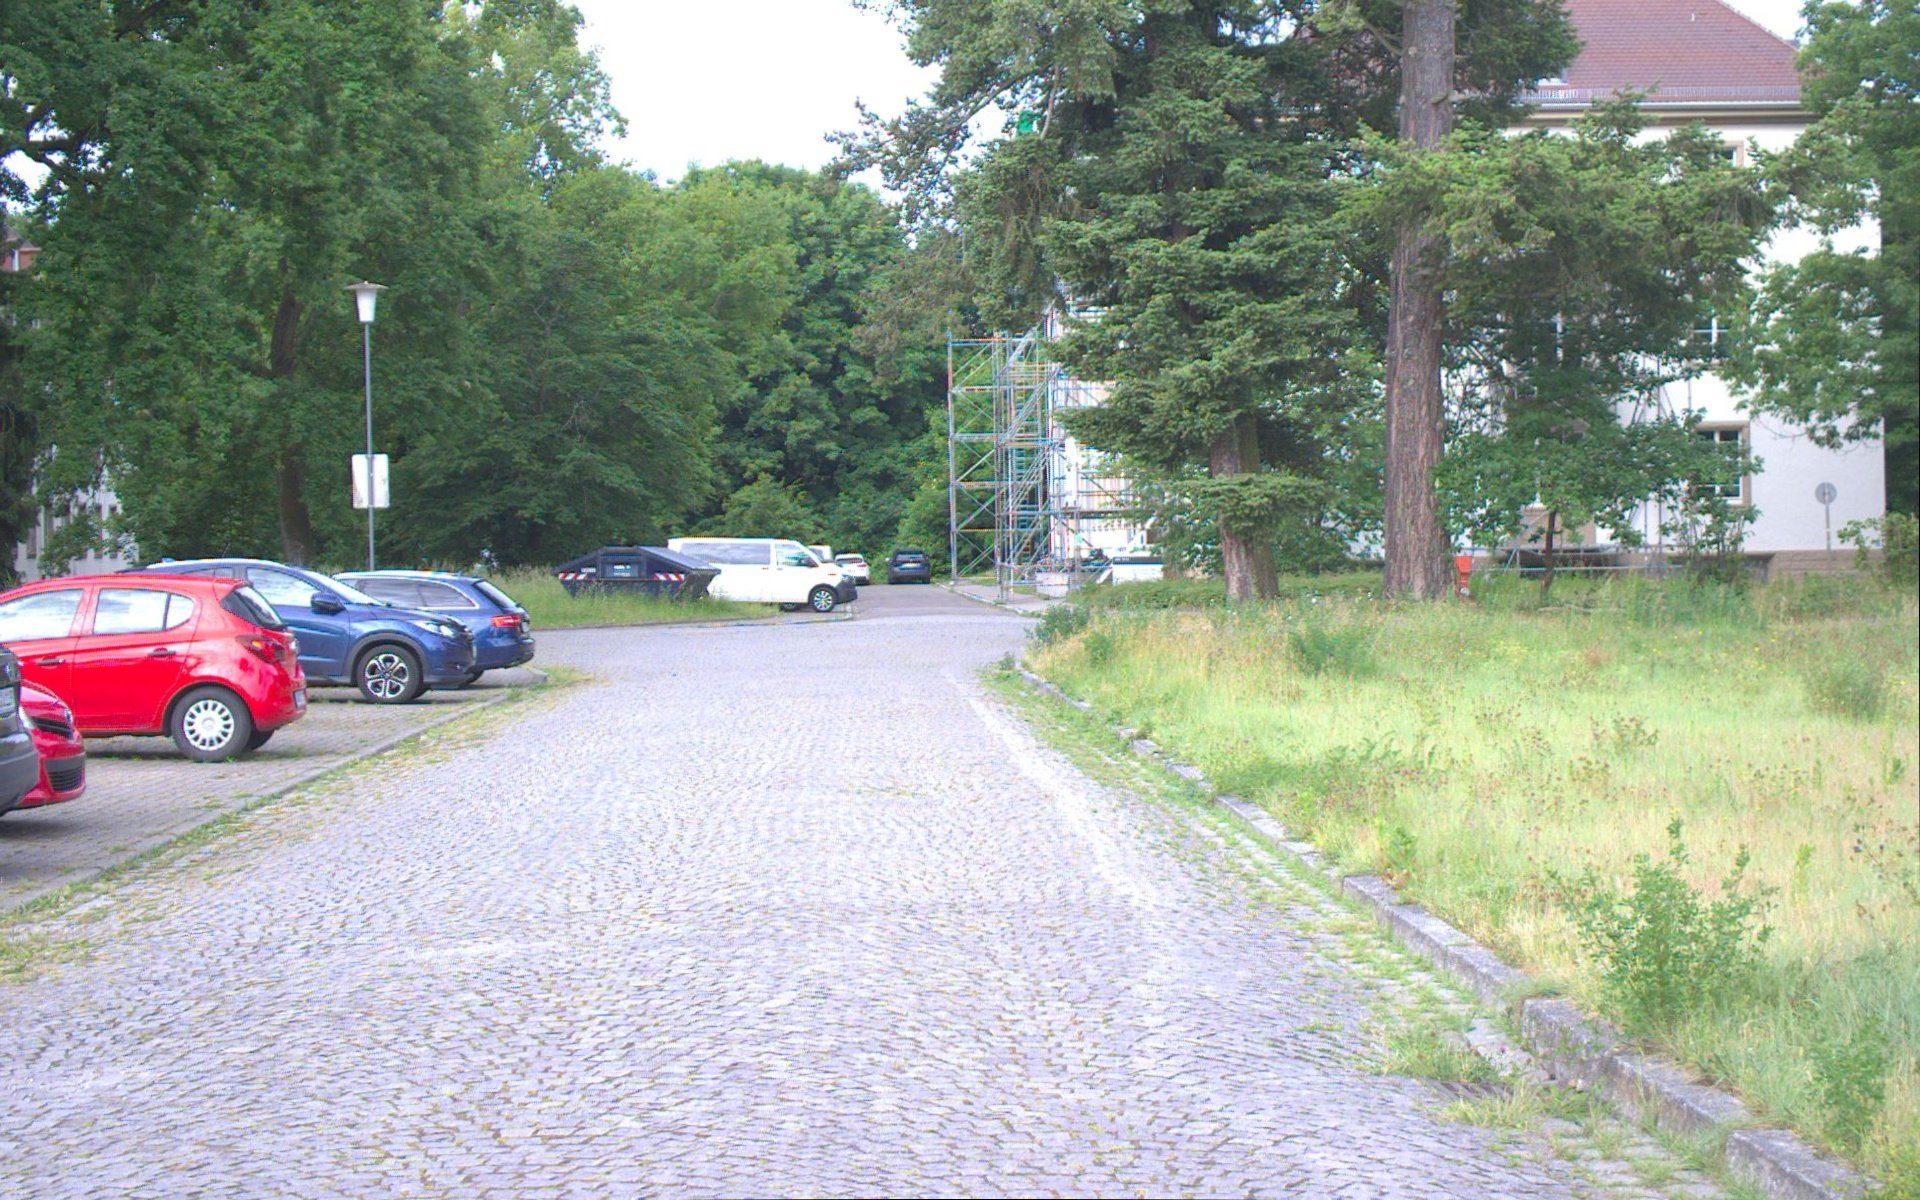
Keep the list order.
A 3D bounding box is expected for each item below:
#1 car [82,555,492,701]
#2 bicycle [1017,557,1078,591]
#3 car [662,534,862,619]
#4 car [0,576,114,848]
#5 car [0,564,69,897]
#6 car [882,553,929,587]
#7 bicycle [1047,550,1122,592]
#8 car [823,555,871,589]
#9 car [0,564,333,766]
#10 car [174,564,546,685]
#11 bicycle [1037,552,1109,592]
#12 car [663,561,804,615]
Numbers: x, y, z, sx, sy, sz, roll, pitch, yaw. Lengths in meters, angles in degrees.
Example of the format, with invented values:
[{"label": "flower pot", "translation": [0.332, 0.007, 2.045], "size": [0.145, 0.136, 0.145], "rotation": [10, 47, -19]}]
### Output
[{"label": "car", "translation": [-7.393, 0.288, 38.093], "size": [4.227, 1.571, 1.887], "rotation": [0, 1, -3]}, {"label": "bicycle", "translation": [3.254, -0.969, 128.252], "size": [2.240, 1.250, 0.627], "rotation": [-1, 0, 1]}, {"label": "car", "translation": [-5.280, -0.639, 91.719], "size": [5.234, 2.160, 2.000], "rotation": [-1, 1, -4]}, {"label": "car", "translation": [-7.280, 0.662, 20.219], "size": [4.165, 1.505, 1.908], "rotation": [-1, 1, -3]}, {"label": "car", "translation": [-6.849, 0.670, 17.489], "size": [4.165, 1.616, 1.987], "rotation": [-1, 1, -4]}, {"label": "car", "translation": [-2.529, -1.369, 158.112], "size": [1.951, 1.516, 4.001], "rotation": [-1, 1, -3]}, {"label": "bicycle", "translation": [3.785, -0.878, 104.926], "size": [2.240, 1.250, 0.777], "rotation": [-1, 0, 1]}, {"label": "car", "translation": [-5.196, -1.302, 157.745], "size": [2.118, 1.516, 4.000], "rotation": [-1, 1, -3]}, {"label": "car", "translation": [-7.262, 0.514, 27.853], "size": [4.054, 1.520, 1.905], "rotation": [-1, 1, -3]}, {"label": "car", "translation": [-7.417, 0.284, 42.824], "size": [4.302, 1.456, 1.975], "rotation": [0, 1, 0]}, {"label": "bicycle", "translation": [3.585, -0.893, 109.179], "size": [2.240, 1.250, 0.777], "rotation": [-1, 0, 1]}, {"label": "car", "translation": [-6.225, -0.344, 94.291], "size": [3.788, 1.390, 2.000], "rotation": [-1, 1, -4]}]
